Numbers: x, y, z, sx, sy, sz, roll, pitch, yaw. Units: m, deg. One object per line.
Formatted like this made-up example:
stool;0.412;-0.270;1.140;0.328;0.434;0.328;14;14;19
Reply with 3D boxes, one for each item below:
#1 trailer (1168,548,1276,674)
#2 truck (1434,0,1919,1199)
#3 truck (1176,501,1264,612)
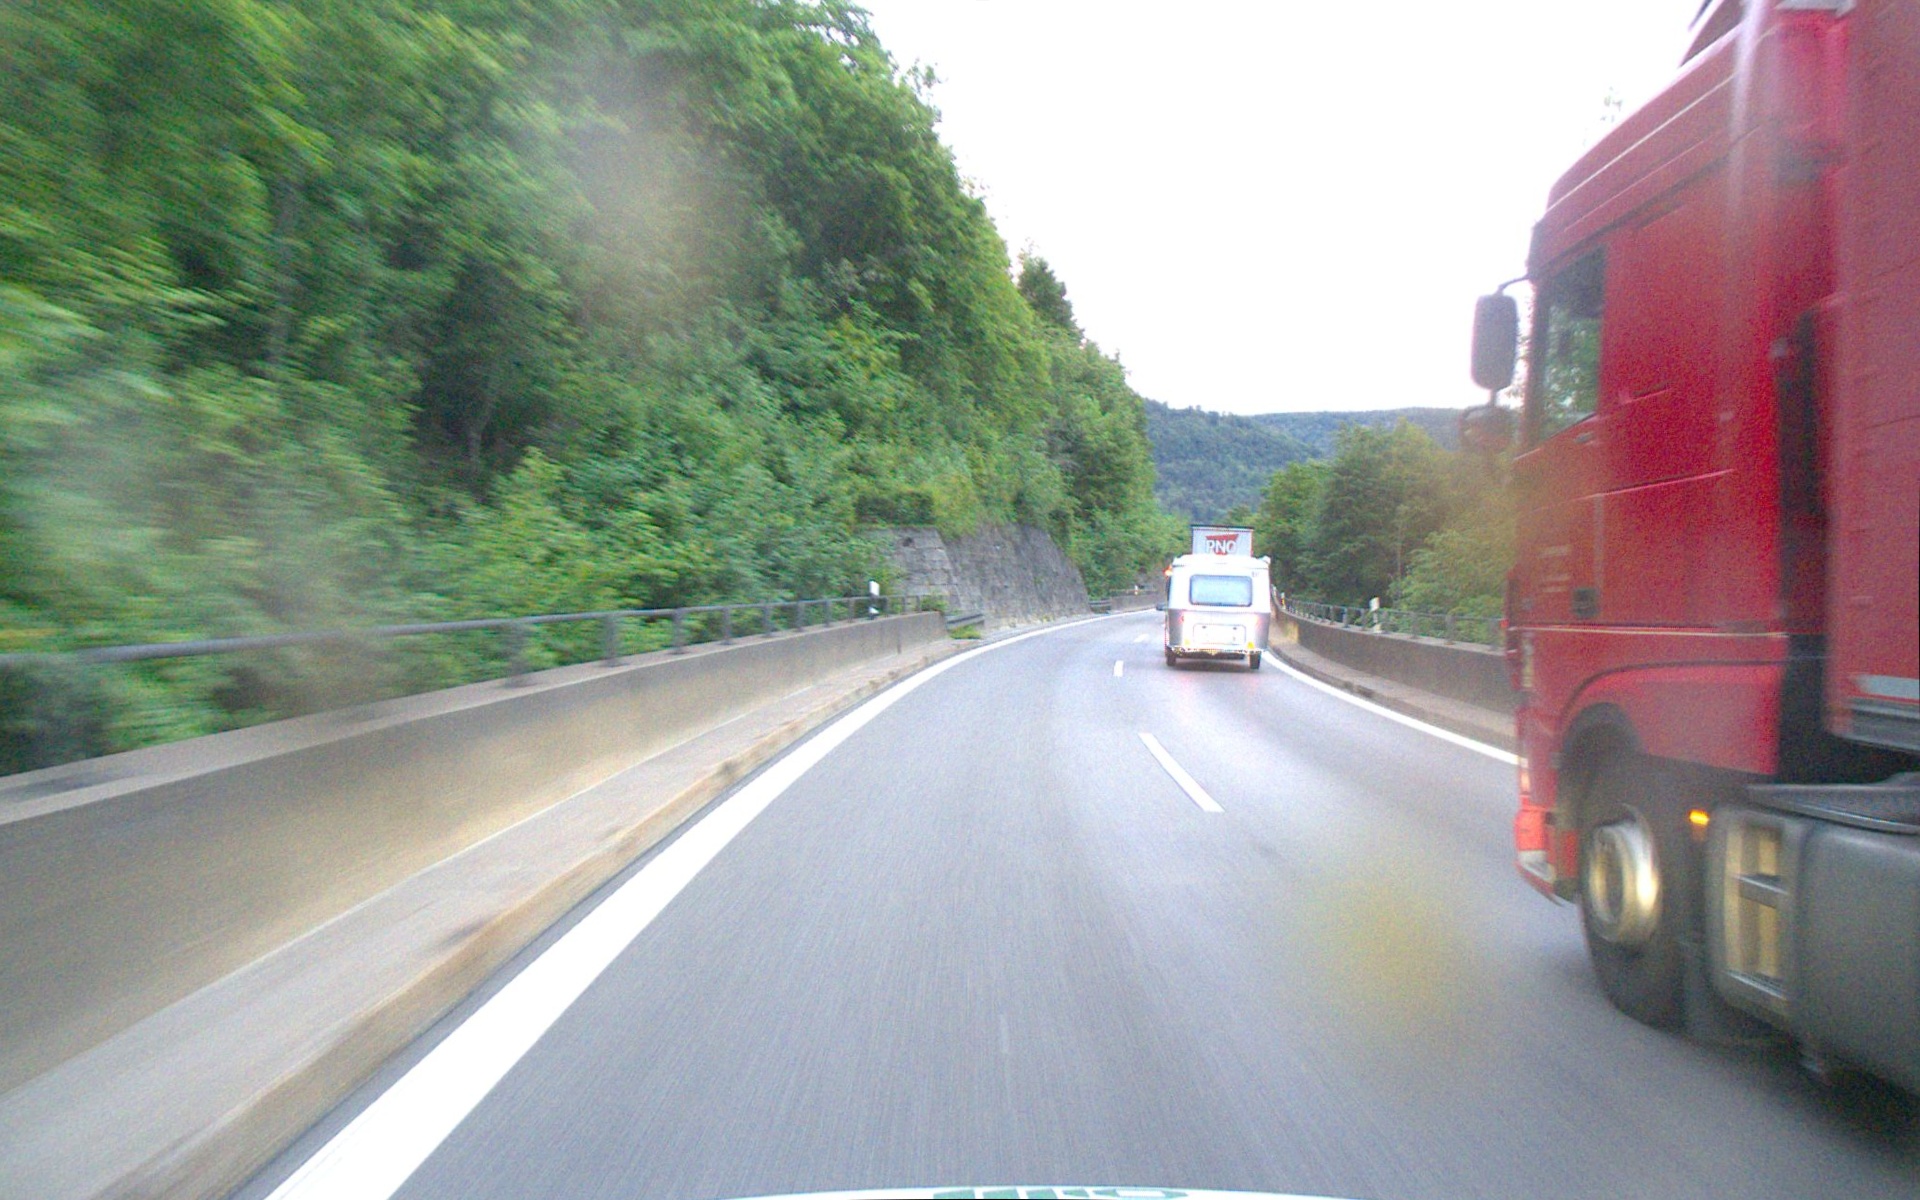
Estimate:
trailer;5.443;0.183;35.022;2.011;2.416;5.943;1;1;7
truck;3.879;-0.575;4.784;3.007;4.217;6.445;1;0;-1
truck;11.492;-1.721;73.823;3.225;4.245;16.516;-3;0;8
